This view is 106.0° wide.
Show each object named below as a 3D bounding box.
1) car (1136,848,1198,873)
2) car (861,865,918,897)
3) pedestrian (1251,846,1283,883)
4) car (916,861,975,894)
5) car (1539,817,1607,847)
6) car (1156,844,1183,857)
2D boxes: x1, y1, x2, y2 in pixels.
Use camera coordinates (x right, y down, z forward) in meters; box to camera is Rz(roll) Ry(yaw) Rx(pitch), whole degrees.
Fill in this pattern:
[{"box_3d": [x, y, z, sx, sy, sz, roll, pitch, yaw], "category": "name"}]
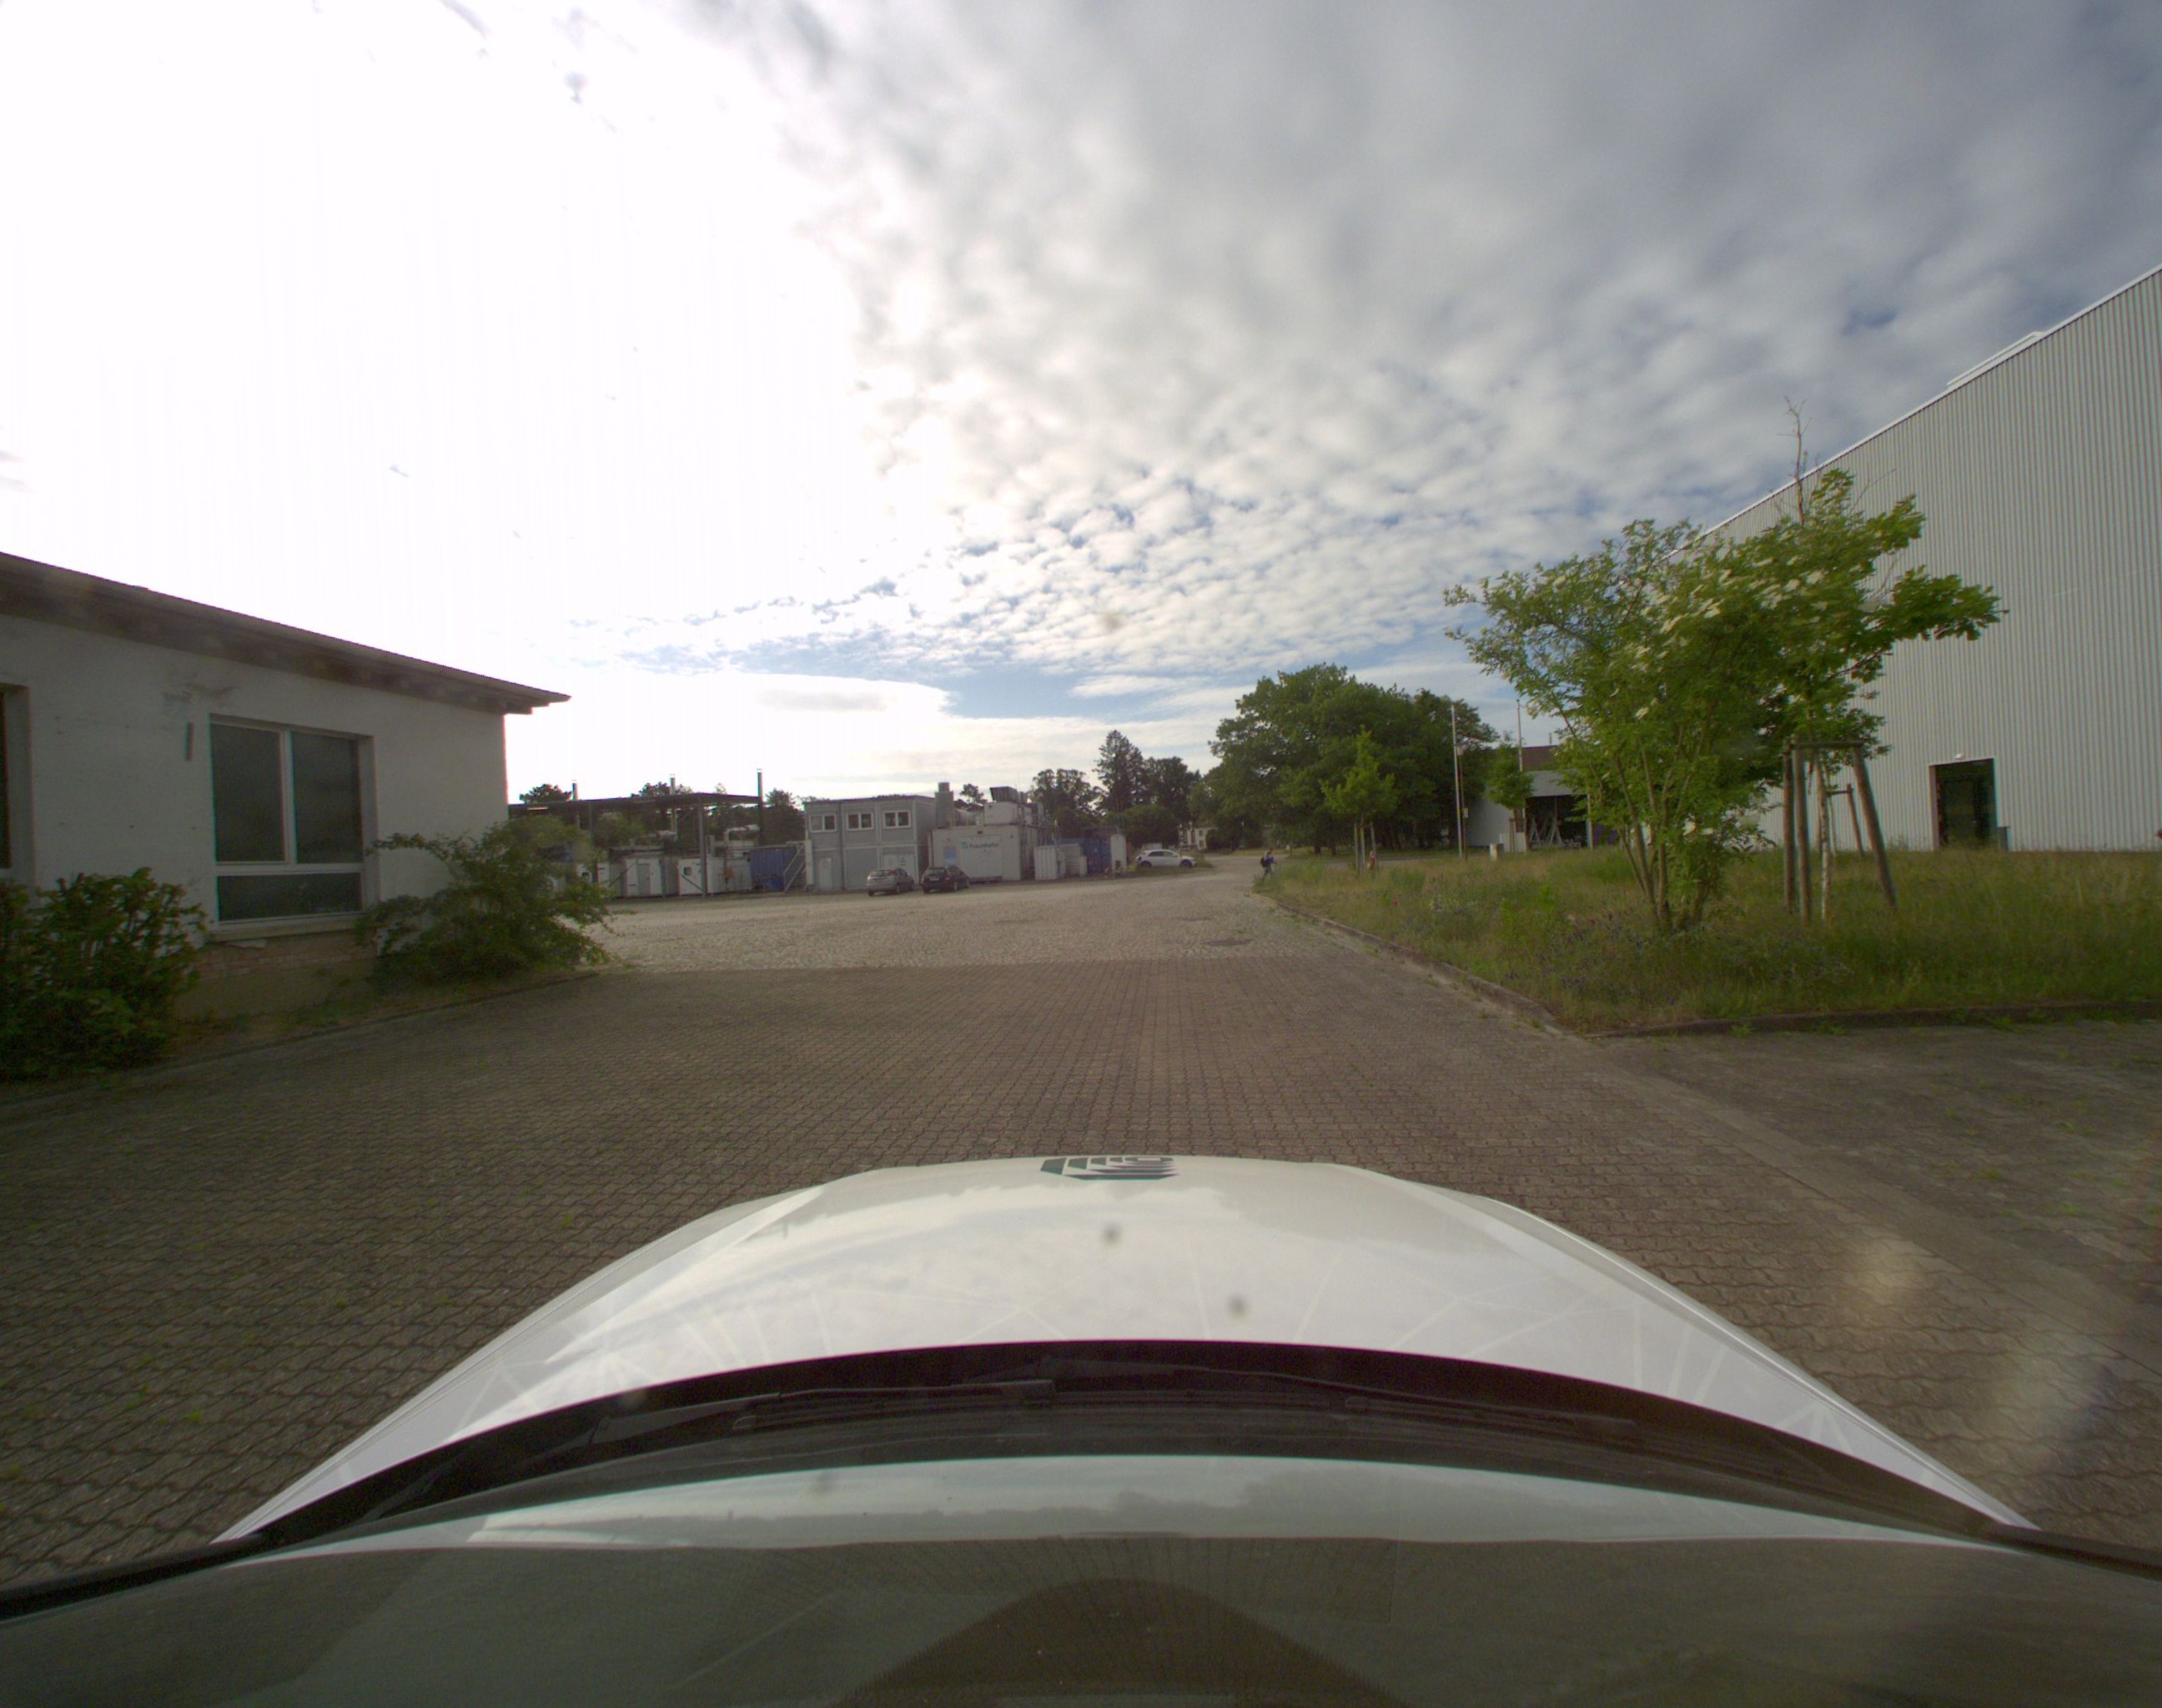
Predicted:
[{"box_3d": [6.503, 0.483, 61.475, 4.508, 1.599, 2.005, -3, 0, 8], "category": "car"}, {"box_3d": [-10.736, 1.503, 46.027, 1.898, 1.475, 4.052, -3, 1, 4], "category": "car"}, {"box_3d": [8.360, 0.475, 36.624, 1.065, 1.556, 1.082, -3, -1, 30], "category": "pedestrian"}, {"box_3d": [-7.510, 1.287, 45.576, 2.026, 1.453, 4.538, -3, 1, 6], "category": "car"}, {"box_3d": [36.914, -1.590, 61.286, 2.230, 2.013, 5.344, -3, 0, 5], "category": "car"}, {"box_3d": [17.654, -0.743, 162.635, 5.145, 2.337, 2.003, -3, 0, 5], "category": "car"}]
